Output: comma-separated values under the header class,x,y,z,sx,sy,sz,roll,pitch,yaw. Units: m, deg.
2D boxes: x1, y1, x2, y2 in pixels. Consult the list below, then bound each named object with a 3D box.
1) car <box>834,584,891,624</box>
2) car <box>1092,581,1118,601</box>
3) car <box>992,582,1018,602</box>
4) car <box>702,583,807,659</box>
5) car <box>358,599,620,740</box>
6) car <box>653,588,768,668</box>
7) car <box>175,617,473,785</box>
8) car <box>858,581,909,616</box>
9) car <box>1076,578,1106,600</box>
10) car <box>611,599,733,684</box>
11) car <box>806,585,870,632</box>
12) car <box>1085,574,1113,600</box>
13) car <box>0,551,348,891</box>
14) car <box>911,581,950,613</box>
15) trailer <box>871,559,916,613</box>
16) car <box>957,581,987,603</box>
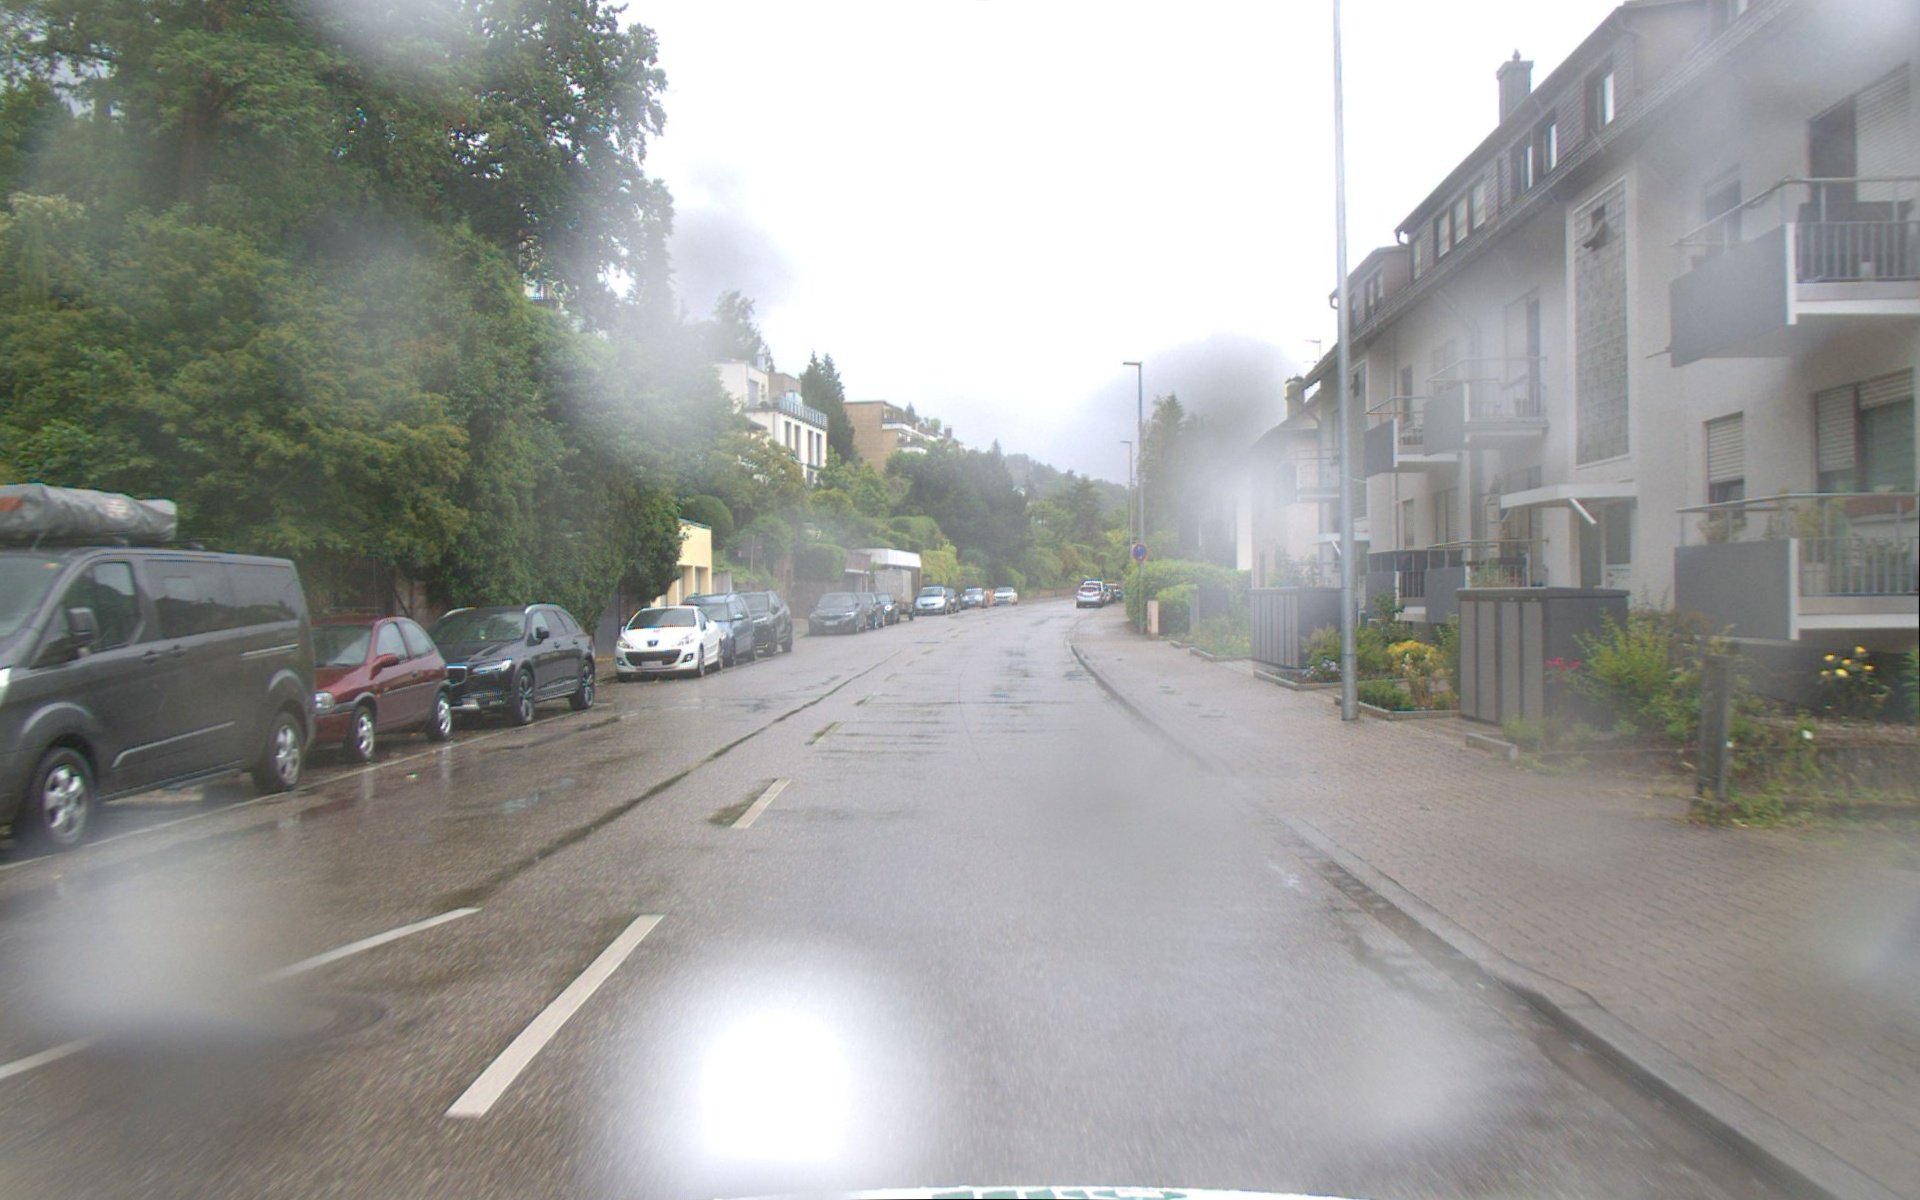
class,x,y,z,sx,sy,sz,roll,pitch,yaw
car,-3.936,0.134,67.322,1.748,1.439,4.220,-3,1,4
car,11.211,-0.723,127.853,1.672,1.427,4.207,-1,1,9
car,3.698,-0.654,135.722,1.718,1.524,4.223,-3,1,6
car,-5.335,0.504,43.546,1.835,1.654,4.595,-4,1,3
car,-6.140,0.834,22.208,1.869,1.506,4.757,-4,0,3
car,-5.699,0.596,38.298,1.705,1.588,4.111,-4,1,4
car,-6.472,0.953,17.301,1.532,1.388,3.907,-3,1,0
car,-3.369,-0.072,73.605,1.770,1.372,3.778,-3,1,4
car,9.207,-0.778,116.401,1.751,1.485,4.312,-1,1,9
car,-5.772,0.787,33.565,1.681,1.389,4.084,-4,2,0
car,-4.492,0.276,61.440,1.748,1.480,4.758,-4,1,3
car,10.240,-0.971,121.880,1.746,1.821,4.365,-1,1,9
car,-6.528,0.708,11.857,2.114,1.952,5.325,-2,1,1
car,-1.662,-0.174,94.043,1.719,1.565,3.759,-4,1,5
trailer,-3.189,-0.680,79.641,1.504,2.441,3.075,-3,1,7
car,0.858,-0.575,116.738,1.719,1.426,3.773,-4,1,6
